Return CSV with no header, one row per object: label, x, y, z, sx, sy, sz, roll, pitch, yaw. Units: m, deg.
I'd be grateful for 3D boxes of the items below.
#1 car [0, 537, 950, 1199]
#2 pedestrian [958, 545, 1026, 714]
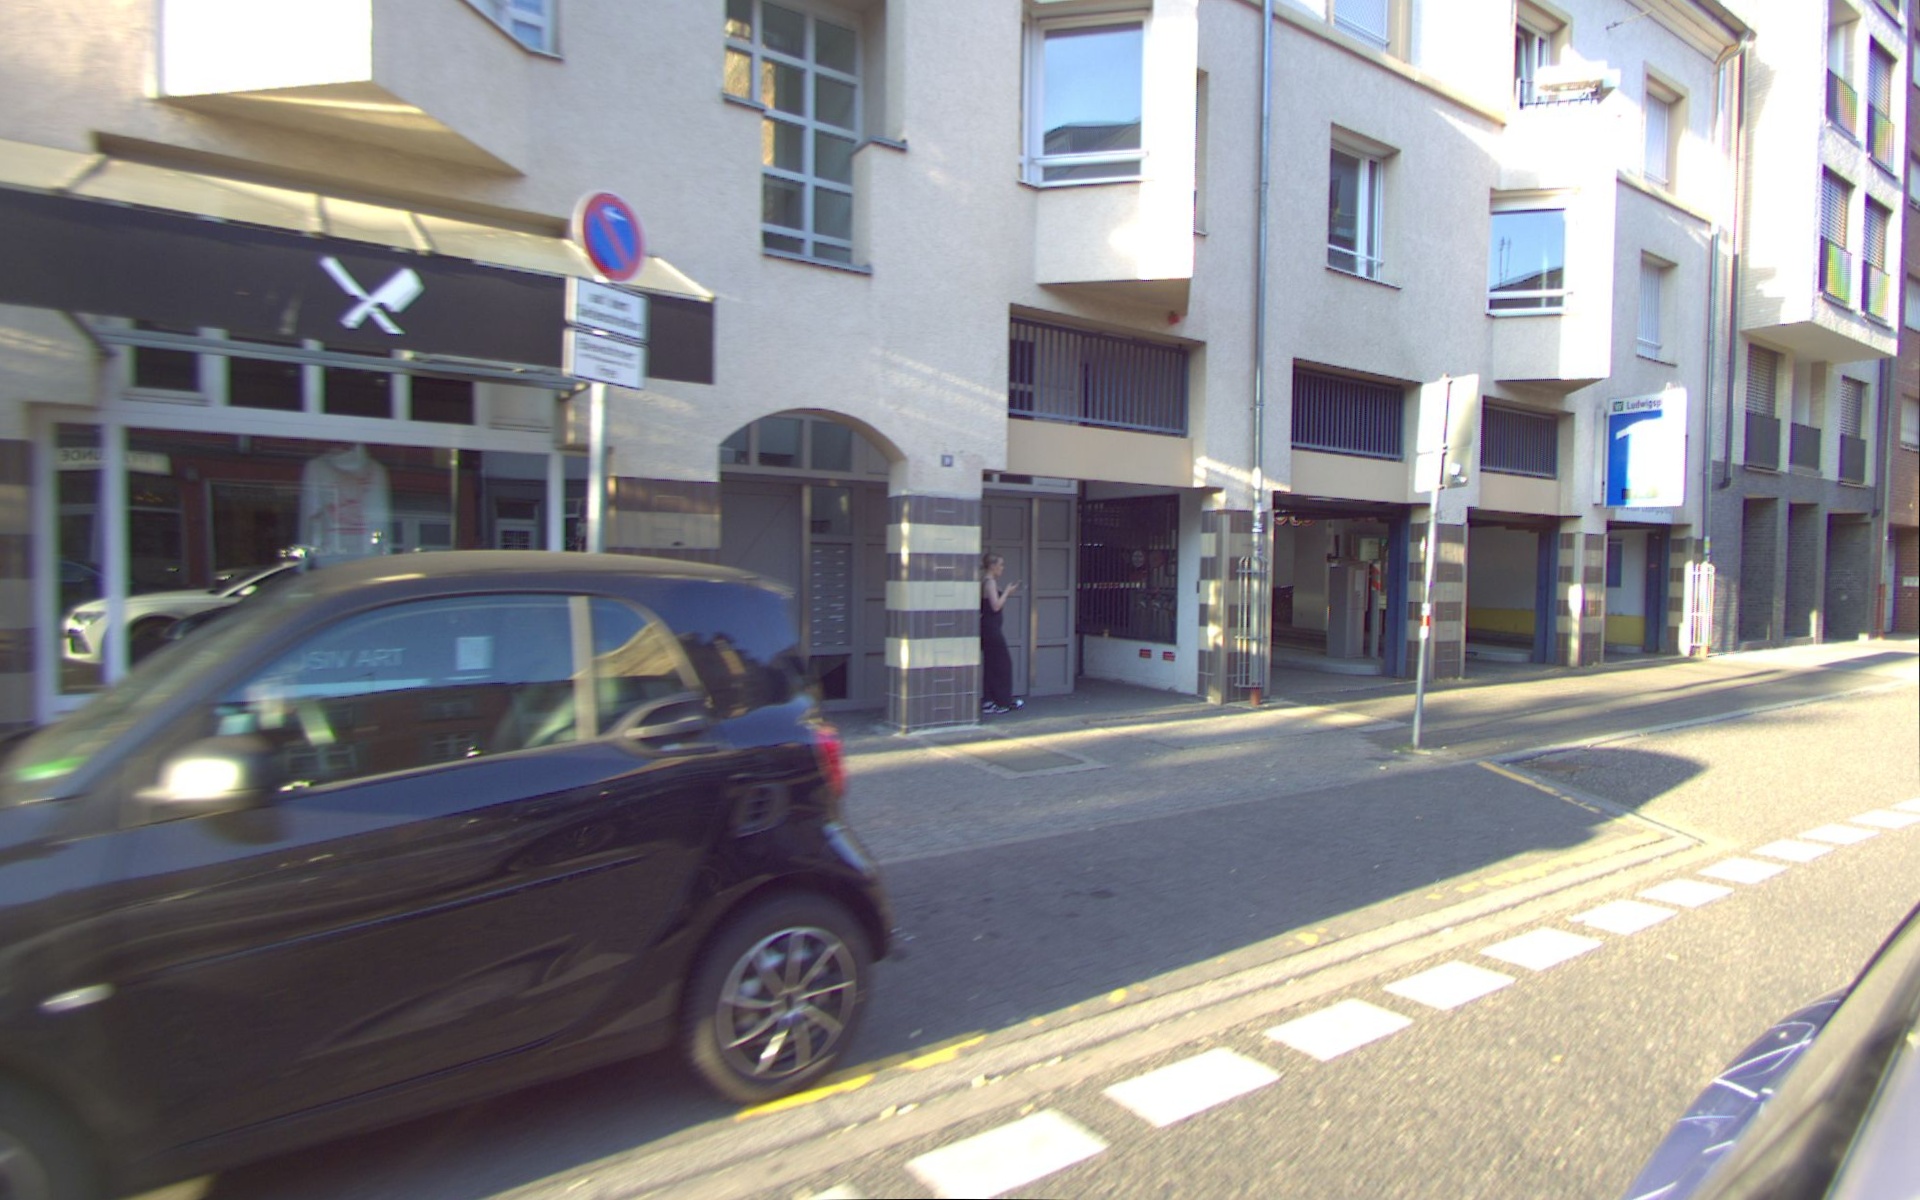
car,-1.612,0.619,2.980,2.750,1.568,1.574,-1,3,-34
pedestrian,0.311,0.266,9.870,0.481,1.592,0.461,-1,2,-41
